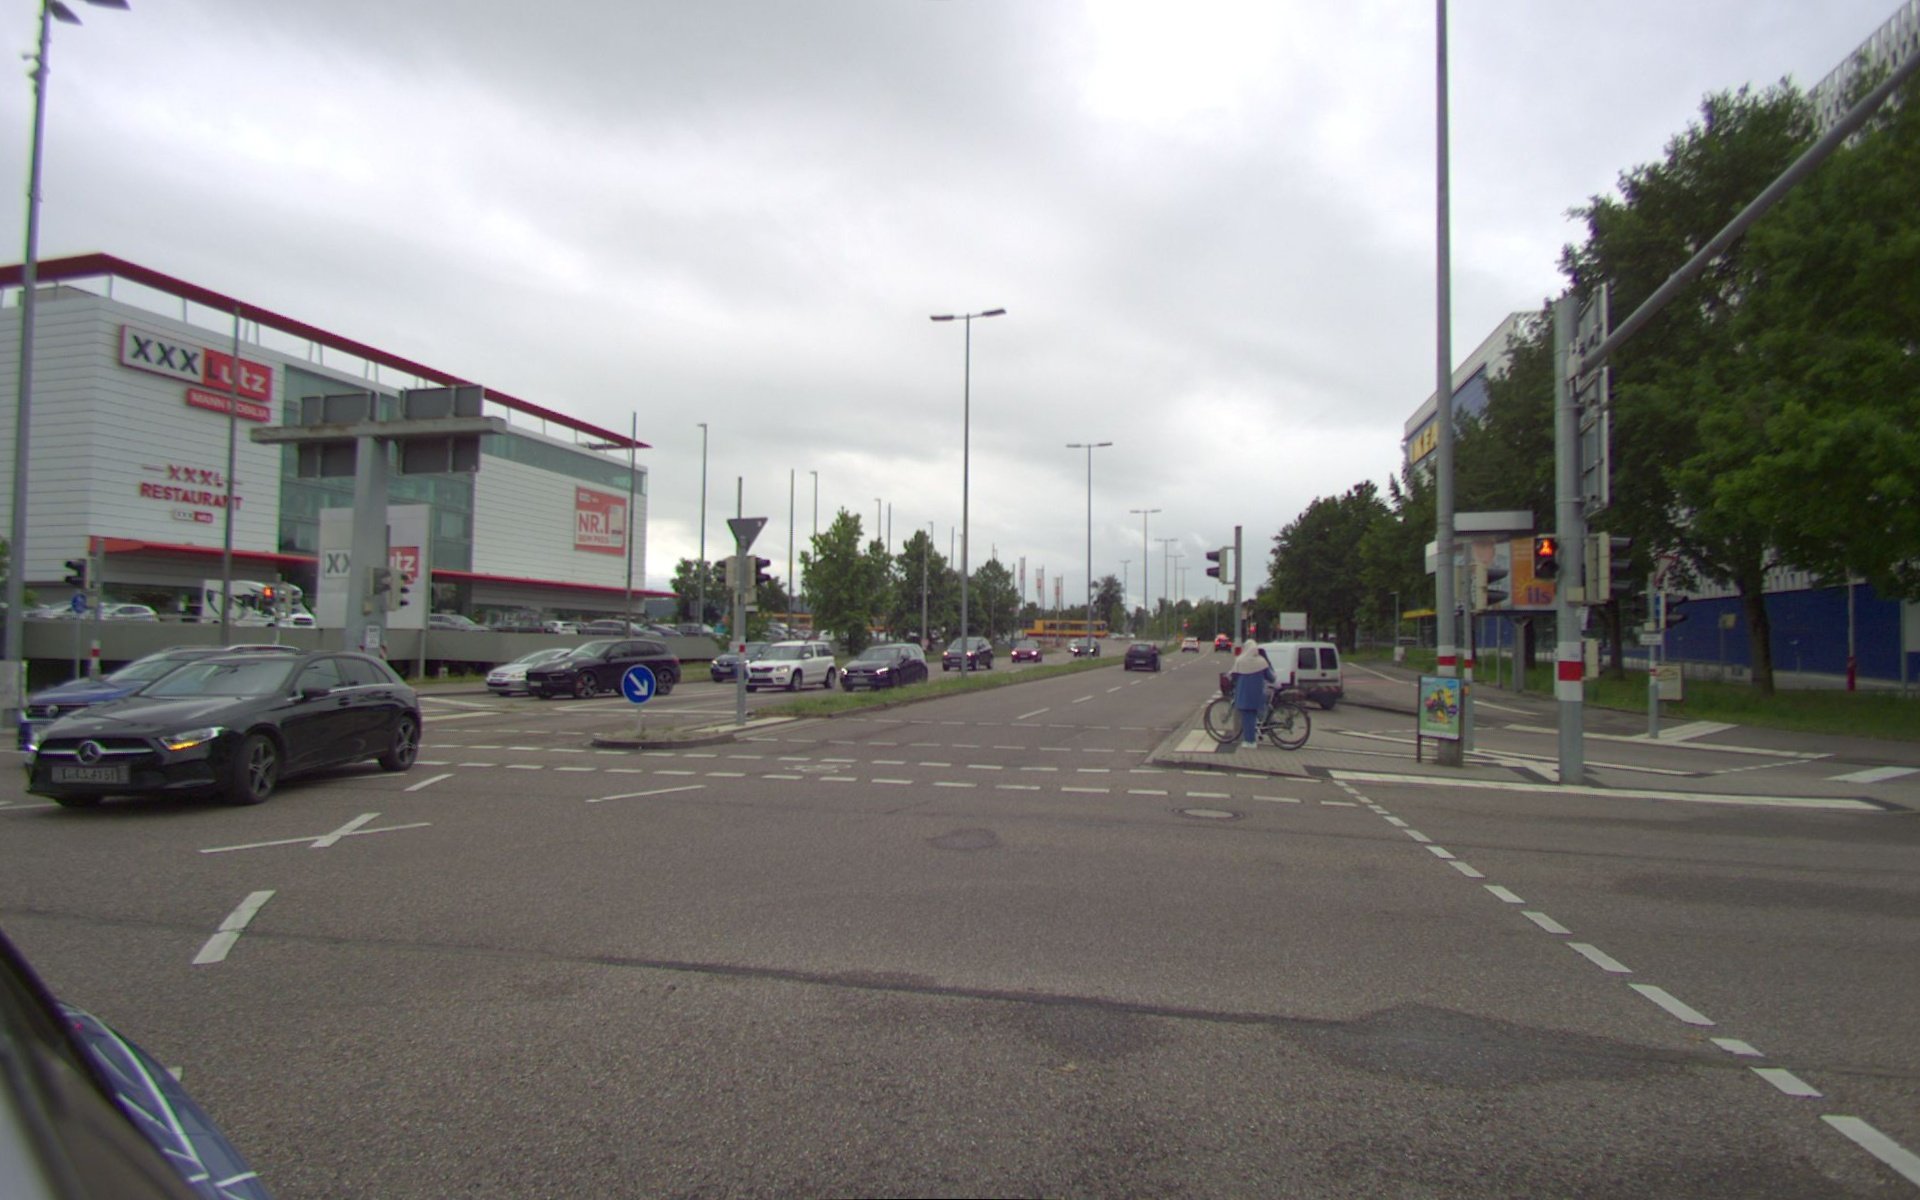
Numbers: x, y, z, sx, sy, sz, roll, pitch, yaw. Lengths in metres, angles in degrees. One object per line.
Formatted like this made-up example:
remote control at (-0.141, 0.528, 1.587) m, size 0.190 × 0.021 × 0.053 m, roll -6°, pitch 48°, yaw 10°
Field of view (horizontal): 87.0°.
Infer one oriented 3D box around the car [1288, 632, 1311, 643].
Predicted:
car at (65.002, 7.122, 193.656) m, size 3.962 × 2.029 × 1.990 m, roll -2°, pitch -2°, yaw 15°

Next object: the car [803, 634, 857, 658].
car at (-11.501, 4.071, 89.564) m, size 4.286 × 2.029 × 1.990 m, roll -2°, pitch -2°, yaw 15°

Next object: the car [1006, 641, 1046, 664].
car at (4.476, 3.508, 67.760) m, size 1.787 × 1.426 × 4.196 m, roll -2°, pitch -2°, yaw 17°

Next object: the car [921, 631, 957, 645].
car at (-2.482, 4.594, 122.183) m, size 3.966 × 1.577 × 1.786 m, roll -2°, pitch -2°, yaw 17°

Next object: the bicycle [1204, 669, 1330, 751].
bicycle at (4.995, 1.764, 16.569) m, size 1.946 × 1.174 × 0.501 m, roll 0°, pitch 0°, yaw 41°

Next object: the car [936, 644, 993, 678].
car at (0.256, 3.069, 51.613) m, size 1.787 × 1.586 × 4.196 m, roll -2°, pitch -2°, yaw 17°

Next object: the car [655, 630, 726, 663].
car at (-17.337, 2.993, 65.224) m, size 3.963 × 2.029 × 1.990 m, roll -2°, pitch -2°, yaw 15°

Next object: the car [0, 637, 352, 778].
car at (-10.891, 1.359, 14.176) m, size 1.826 × 1.634 × 4.322 m, roll -2°, pitch -2°, yaw 7°

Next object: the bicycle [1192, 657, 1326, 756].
bicycle at (4.660, 1.627, 15.835) m, size 1.933 × 1.407 × 0.589 m, roll -1°, pitch -4°, yaw 41°

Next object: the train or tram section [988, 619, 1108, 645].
train or tram section at (17.133, 6.230, 197.606) m, size 23.059 × 4.875 × 3.616 m, roll -1°, pitch -2°, yaw 14°

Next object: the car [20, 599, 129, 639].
car at (-47.754, 1.042, 54.661) m, size 1.984 × 2.029 × 3.976 m, roll -2°, pitch -2°, yaw 18°

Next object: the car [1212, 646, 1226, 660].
car at (38.000, 7.728, 148.503) m, size 1.831 × 1.901 × 3.906 m, roll -2°, pitch -2°, yaw 14°

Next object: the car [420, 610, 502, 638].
car at (-28.741, 1.383, 58.324) m, size 3.955 × 1.448 × 1.861 m, roll -2°, pitch -2°, yaw 14°

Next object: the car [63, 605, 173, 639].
car at (-44.322, 1.186, 53.400) m, size 1.761 × 1.688 × 4.236 m, roll -2°, pitch -2°, yaw 17°

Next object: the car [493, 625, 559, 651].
car at (-30.731, 2.688, 71.680) m, size 3.962 × 1.752 × 1.991 m, roll -2°, pitch -2°, yaw 14°

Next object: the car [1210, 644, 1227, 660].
car at (29.177, 5.823, 114.299) m, size 1.831 × 1.668 × 4.341 m, roll 2°, pitch -1°, yaw 14°

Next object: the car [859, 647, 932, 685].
car at (-2.681, 2.783, 43.045) m, size 1.787 × 1.426 × 4.196 m, roll -2°, pitch -2°, yaw 17°

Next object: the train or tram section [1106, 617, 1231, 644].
train or tram section at (39.429, 5.877, 191.996) m, size 23.059 × 4.875 × 3.616 m, roll -1°, pitch -2°, yaw 14°

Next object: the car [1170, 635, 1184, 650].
car at (32.327, 6.311, 150.767) m, size 1.981 × 2.237 × 3.982 m, roll 0°, pitch -3°, yaw 14°

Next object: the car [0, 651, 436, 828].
car at (-7.449, 1.283, 10.551) m, size 1.834 × 1.445 × 4.196 m, roll -1°, pitch -3°, yaw -1°

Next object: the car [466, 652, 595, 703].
car at (-13.201, 2.345, 31.351) m, size 1.679 × 1.382 × 3.908 m, roll -2°, pitch -2°, yaw 15°

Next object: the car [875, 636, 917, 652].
car at (-6.670, 4.612, 105.261) m, size 3.966 × 1.577 × 1.786 m, roll -2°, pitch -2°, yaw 17°

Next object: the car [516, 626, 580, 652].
car at (-30.209, 2.870, 74.287) m, size 3.962 × 1.752 × 1.991 m, roll -2°, pitch -2°, yaw 14°

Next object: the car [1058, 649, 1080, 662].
car at (12.648, 6.396, 117.336) m, size 1.787 × 1.426 × 4.196 m, roll -2°, pitch -2°, yaw 17°

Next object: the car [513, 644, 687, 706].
car at (-10.207, 2.098, 28.850) m, size 4.306 × 1.637 × 1.802 m, roll 2°, pitch -4°, yaw -41°

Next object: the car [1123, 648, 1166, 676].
car at (9.535, 3.184, 52.061) m, size 1.713 × 1.382 × 3.976 m, roll 0°, pitch -3°, yaw 17°

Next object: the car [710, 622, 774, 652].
car at (-15.465, 2.647, 71.859) m, size 3.963 × 2.029 × 1.990 m, roll -2°, pitch -2°, yaw 15°

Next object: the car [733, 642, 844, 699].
car at (-5.496, 2.249, 33.004) m, size 1.785 × 1.637 × 4.349 m, roll -2°, pitch -2°, yaw 17°

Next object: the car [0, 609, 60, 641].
car at (-53.153, 1.396, 56.348) m, size 1.761 × 1.688 × 4.236 m, roll -2°, pitch -2°, yaw 17°

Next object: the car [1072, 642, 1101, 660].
car at (11.075, 4.443, 88.328) m, size 1.787 × 1.426 × 4.196 m, roll -2°, pitch -2°, yaw 17°

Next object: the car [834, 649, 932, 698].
car at (-2.398, 2.316, 32.568) m, size 1.753 × 1.389 × 4.235 m, roll -2°, pitch -2°, yaw 17°

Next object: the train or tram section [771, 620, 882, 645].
train or tram section at (-27.517, 6.799, 208.841) m, size 23.059 × 4.875 × 3.616 m, roll -1°, pitch -2°, yaw 14°

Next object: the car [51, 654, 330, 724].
car at (-17.094, 1.945, 22.798) m, size 4.796 × 1.422 × 1.822 m, roll 2°, pitch -5°, yaw -35°

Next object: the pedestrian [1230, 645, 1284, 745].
pedestrian at (4.892, 1.543, 16.675) m, size 0.649 × 1.560 × 0.645 m, roll 0°, pitch -1°, yaw 41°

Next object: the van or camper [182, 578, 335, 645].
van or camper at (-36.322, 0.669, 52.411) m, size 7.174 × 3.159 × 2.699 m, roll -2°, pitch -2°, yaw 17°

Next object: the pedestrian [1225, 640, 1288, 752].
pedestrian at (4.514, 1.441, 15.388) m, size 0.692 × 1.639 × 0.632 m, roll 0°, pitch -3°, yaw 43°

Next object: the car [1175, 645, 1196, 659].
car at (24.160, 5.539, 108.349) m, size 1.772 × 1.463 × 3.910 m, roll 1°, pitch -2°, yaw 18°

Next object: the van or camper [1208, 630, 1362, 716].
van or camper at (8.850, 1.927, 28.016) m, size 1.966 × 1.734 × 4.408 m, roll -1°, pitch 4°, yaw -15°
